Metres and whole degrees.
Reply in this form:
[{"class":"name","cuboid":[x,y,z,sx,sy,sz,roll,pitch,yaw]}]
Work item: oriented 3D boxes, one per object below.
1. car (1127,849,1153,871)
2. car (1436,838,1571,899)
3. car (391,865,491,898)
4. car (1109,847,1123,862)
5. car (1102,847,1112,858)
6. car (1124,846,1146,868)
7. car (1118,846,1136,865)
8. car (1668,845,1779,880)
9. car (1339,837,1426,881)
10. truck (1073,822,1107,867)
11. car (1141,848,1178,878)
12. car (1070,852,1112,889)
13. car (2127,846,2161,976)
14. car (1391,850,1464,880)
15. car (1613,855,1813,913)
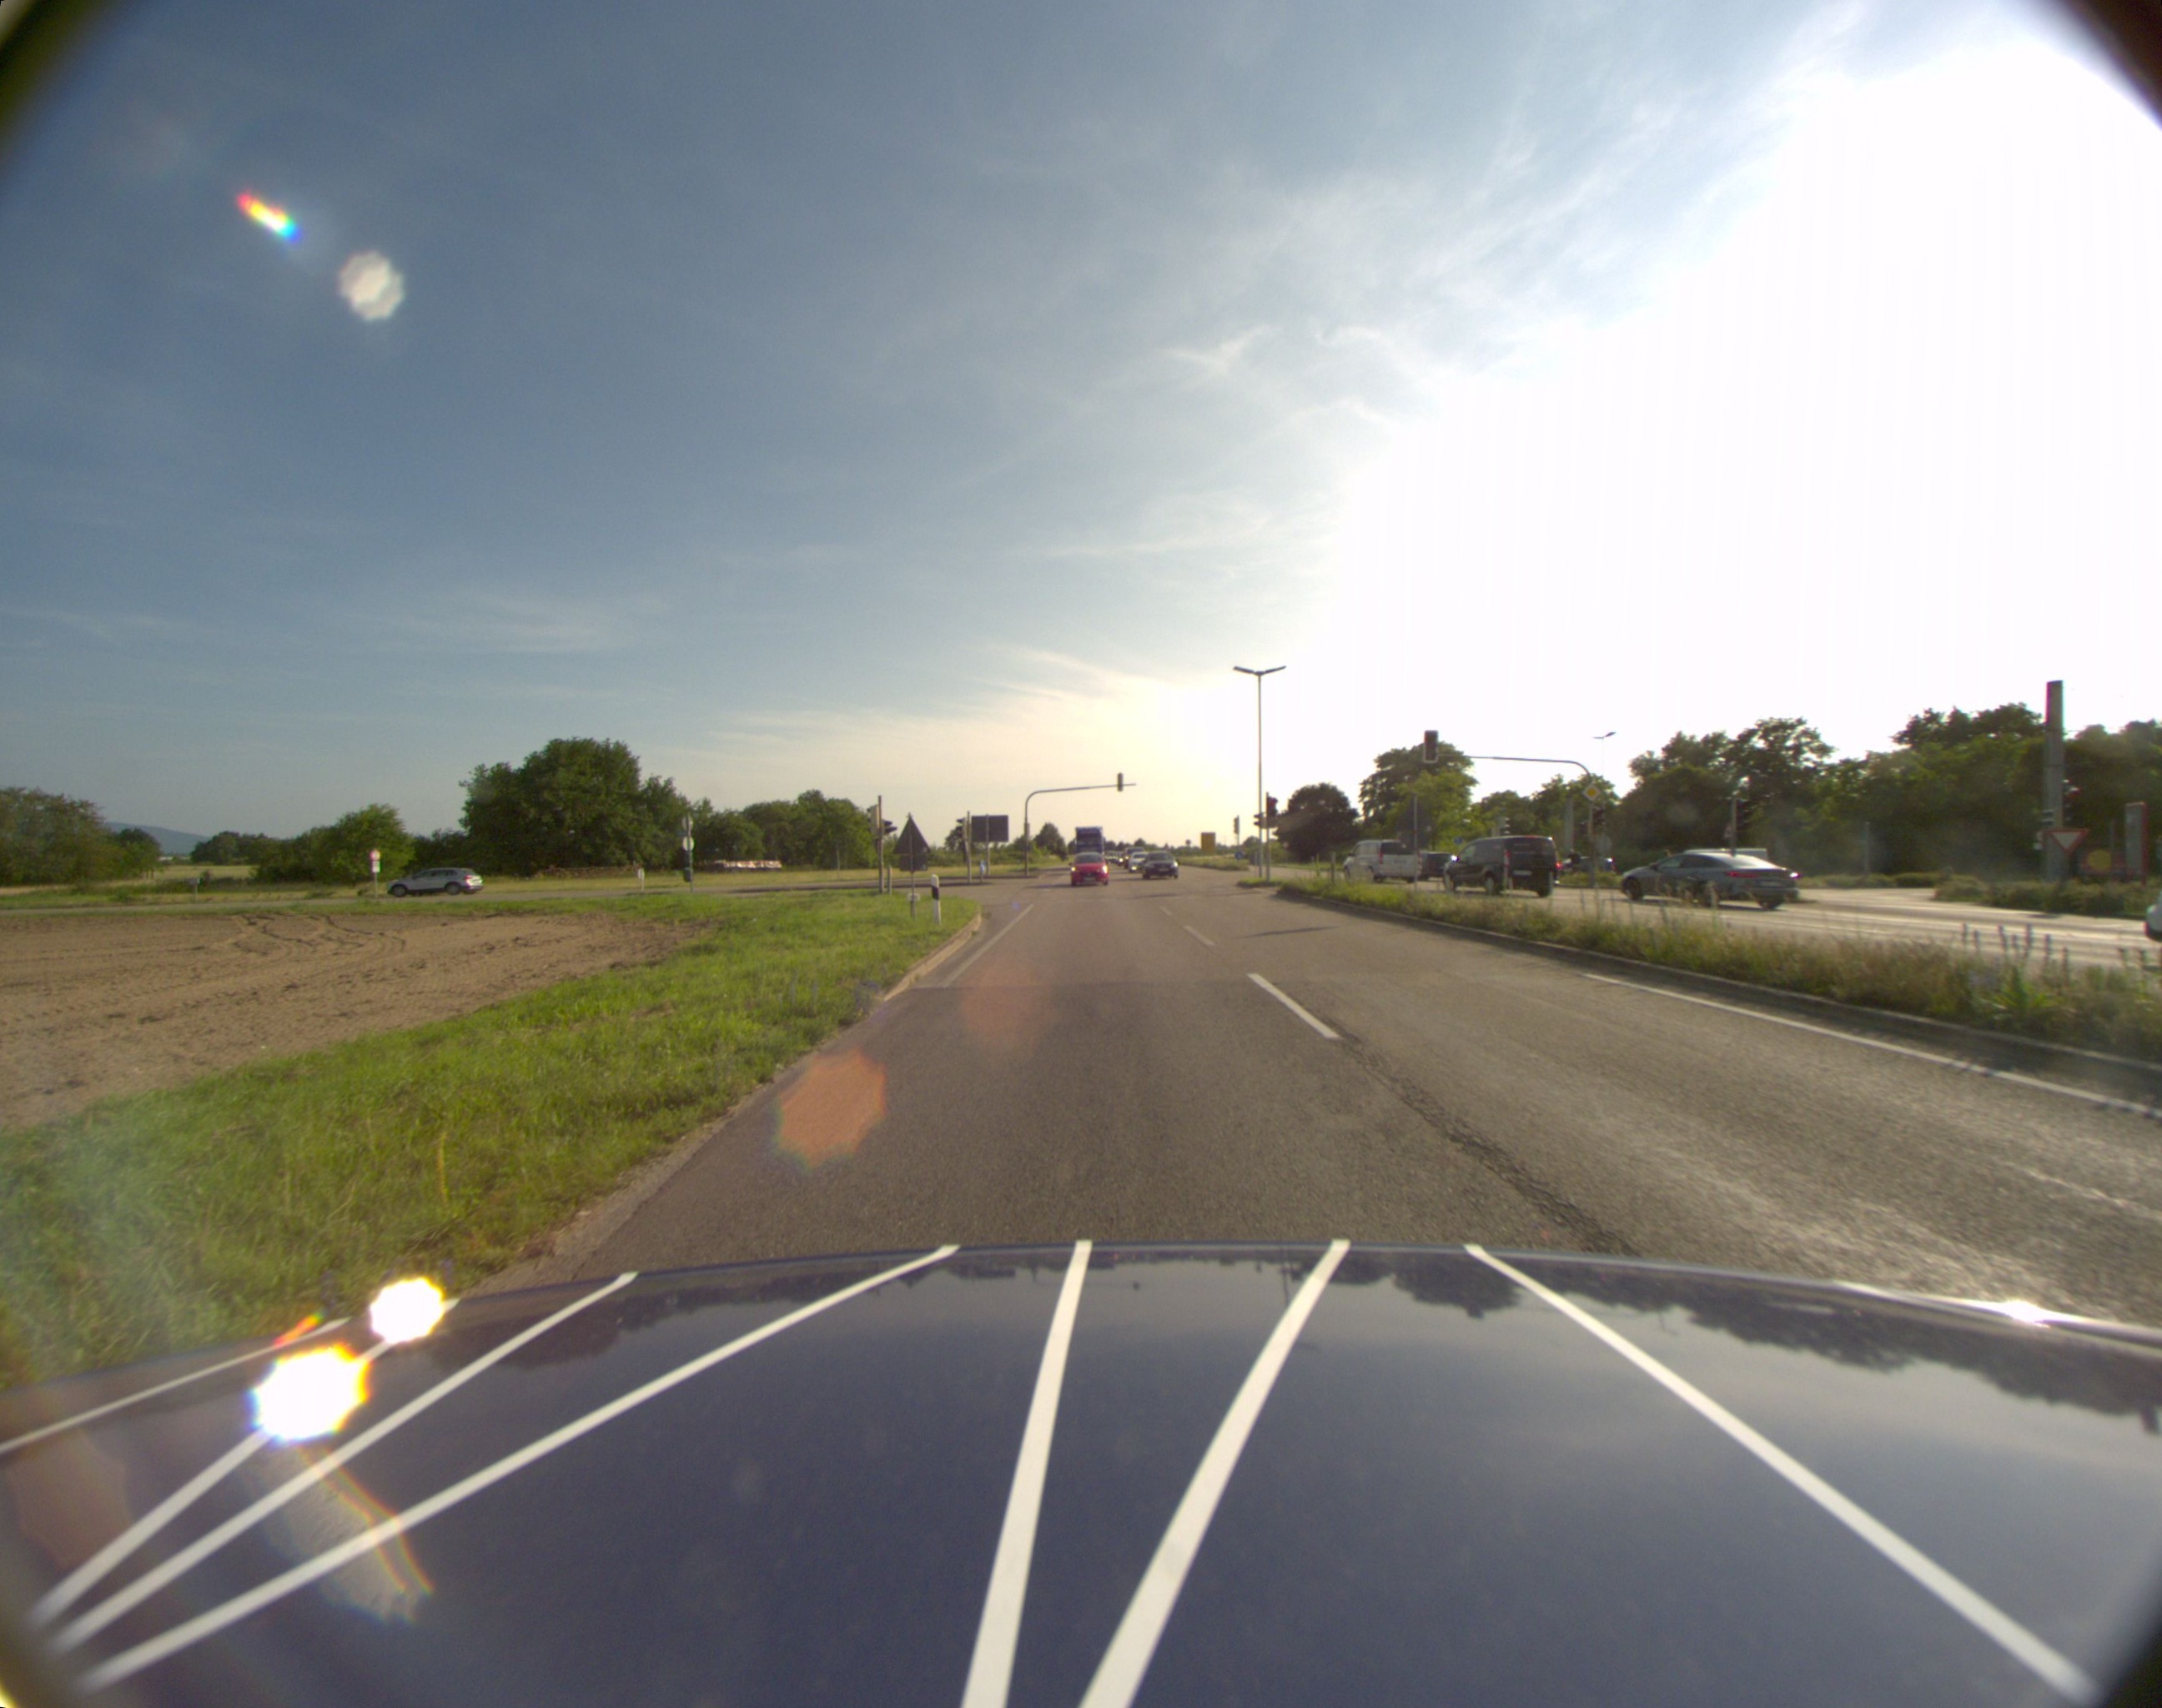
[{"class":"car","cuboid":[4.190,0.414,54.365,1.636,1.442,4.000,-2,1,1]},{"class":"car","cuboid":[13.347,0.398,24.371,1.862,1.735,4.529,1,1,1]},{"class":"car","cuboid":[-37.914,1.604,45.112,4.001,1.641,1.997,-3,1,-14]},{"class":"car","cuboid":[4.574,0.087,99.121,1.636,1.833,4.000,-2,1,1]},{"class":"car","cuboid":[4.472,-0.247,132.537,1.636,1.833,4.000,-2,1,1]},{"class":"car","cuboid":[4.710,0.239,66.497,1.636,1.833,4.000,-2,1,1]},{"class":"car","cuboid":[4.810,0.118,79.370,1.636,1.833,4.000,-2,1,1]},{"class":"car","cuboid":[38.441,0.482,45.560,4.844,1.876,2.253,-3,1,-4]},{"class":"car","cuboid":[13.583,0.169,34.595,1.998,1.818,5.078,1,1,1]},{"class":"truck","cuboid":[0.874,-0.893,72.314,2.849,3.897,10.103,-2,1,1]},{"class":"car","cuboid":[4.243,0.458,41.416,1.636,1.500,4.000,-2,1,1]},{"class":"car","cuboid":[0.470,0.687,34.283,1.735,1.467,4.000,-2,1,1]},{"class":"car","cuboid":[13.293,0.691,6.727,1.756,1.499,4.583,1,1,1]},{"class":"car","cuboid":[17.127,0.520,37.722,1.862,1.337,3.960,1,1,1]},{"class":"car","cuboid":[16.993,0.734,20.789,1.862,1.337,4.373,1,1,1]}]
